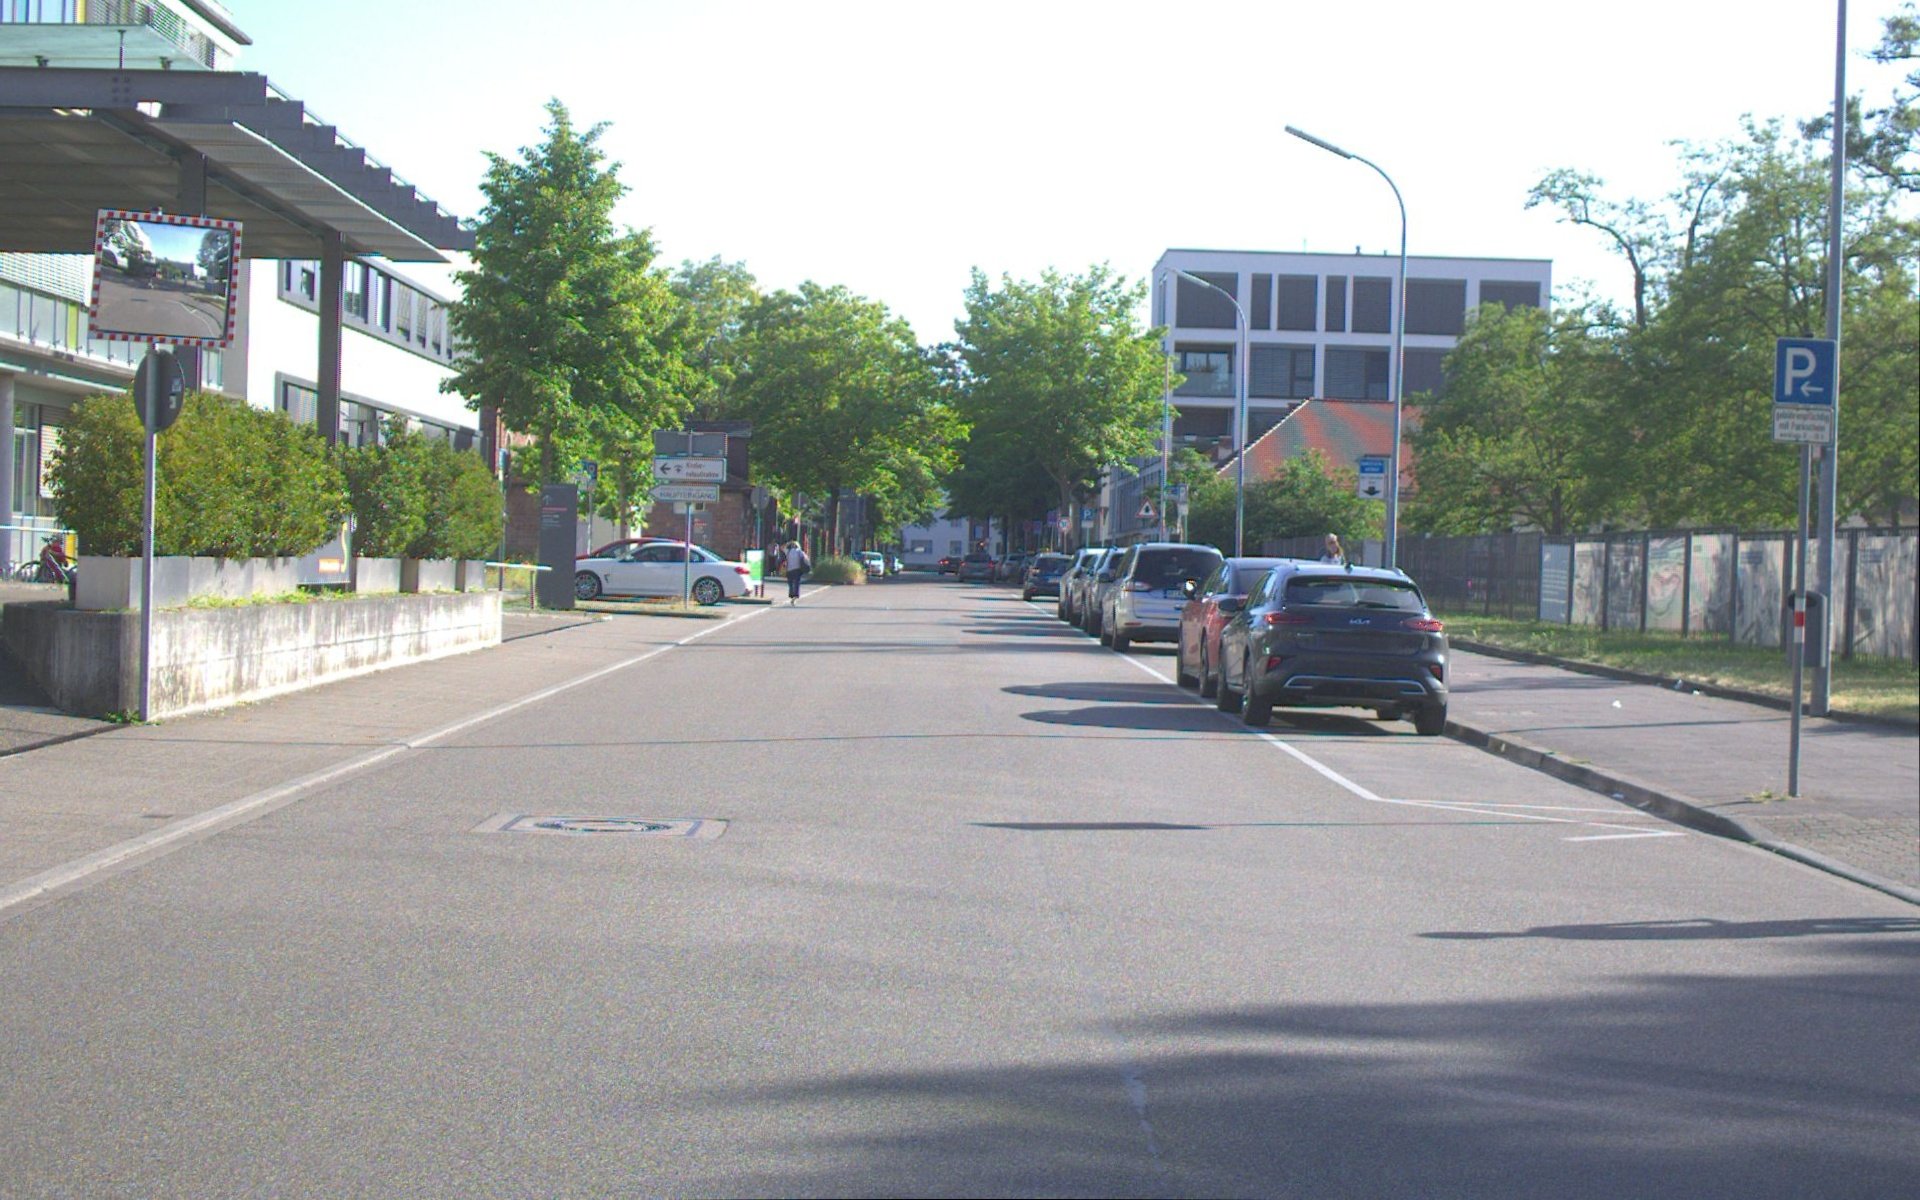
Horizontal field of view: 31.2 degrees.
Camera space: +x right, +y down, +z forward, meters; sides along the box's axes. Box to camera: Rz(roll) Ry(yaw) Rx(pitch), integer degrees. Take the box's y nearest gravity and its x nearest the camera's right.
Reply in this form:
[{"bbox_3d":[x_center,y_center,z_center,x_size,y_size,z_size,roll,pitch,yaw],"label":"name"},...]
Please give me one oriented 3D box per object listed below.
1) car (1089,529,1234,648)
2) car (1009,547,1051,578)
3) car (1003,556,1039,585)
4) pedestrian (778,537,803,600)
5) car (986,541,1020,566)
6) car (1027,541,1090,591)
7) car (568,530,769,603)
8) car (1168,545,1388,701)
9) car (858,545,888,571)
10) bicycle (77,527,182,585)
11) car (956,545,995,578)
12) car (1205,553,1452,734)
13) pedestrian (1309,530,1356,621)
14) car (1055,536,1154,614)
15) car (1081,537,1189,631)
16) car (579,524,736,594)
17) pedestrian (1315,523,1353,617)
[{"bbox_3d":[3.142,-0.222,54.439,1.809,1.716,4.705,3,1,-1],"label":"car"},{"bbox_3d":[3.366,-1.819,166.016,1.767,1.435,4.000,2,1,-2],"label":"car"},{"bbox_3d":[3.452,-1.700,195.336,1.950,1.573,3.836,2,1,0],"label":"car"},{"bbox_3d":[-4.149,-0.770,84.395,0.538,1.518,0.607,1,1,1],"label":"pedestrian"},{"bbox_3d":[2.615,-2.839,210.901,1.993,1.460,3.836,2,1,0],"label":"car"},{"bbox_3d":[2.987,-1.064,105.173,1.818,1.448,4.214,1,1,1],"label":"car"},{"bbox_3d":[-6.757,-0.781,79.786,4.511,1.362,1.700,4,1,-5],"label":"car"},{"bbox_3d":[3.456,0.204,38.158,1.809,1.505,4.722,3,1,-1],"label":"car"},{"bbox_3d":[-5.236,-2.539,206.185,1.767,1.482,4.000,2,1,-2],"label":"car"},{"bbox_3d":[-14.755,-0.779,61.072,1.715,0.990,0.536,1,1,-1],"label":"bicycle"},{"bbox_3d":[0.748,-1.908,168.732,1.767,1.543,4.066,2,1,-2],"label":"car"},{"bbox_3d":[3.395,0.355,32.376,1.700,1.482,4.215,3,1,-1],"label":"car"},{"bbox_3d":[6.828,-0.449,63.030,0.681,1.606,0.541,4,0,-3],"label":"pedestrian"},{"bbox_3d":[3.213,-0.585,77.388,1.813,1.583,4.263,3,1,-2],"label":"car"},{"bbox_3d":[3.211,-0.330,63.814,1.700,1.600,4.353,3,1,0],"label":"car"},{"bbox_3d":[-7.274,-0.997,82.866,3.634,1.464,1.614,3,1,-3],"label":"car"},{"bbox_3d":[6.909,-0.558,63.583,0.521,1.702,0.522,4,0,-3],"label":"pedestrian"}]
